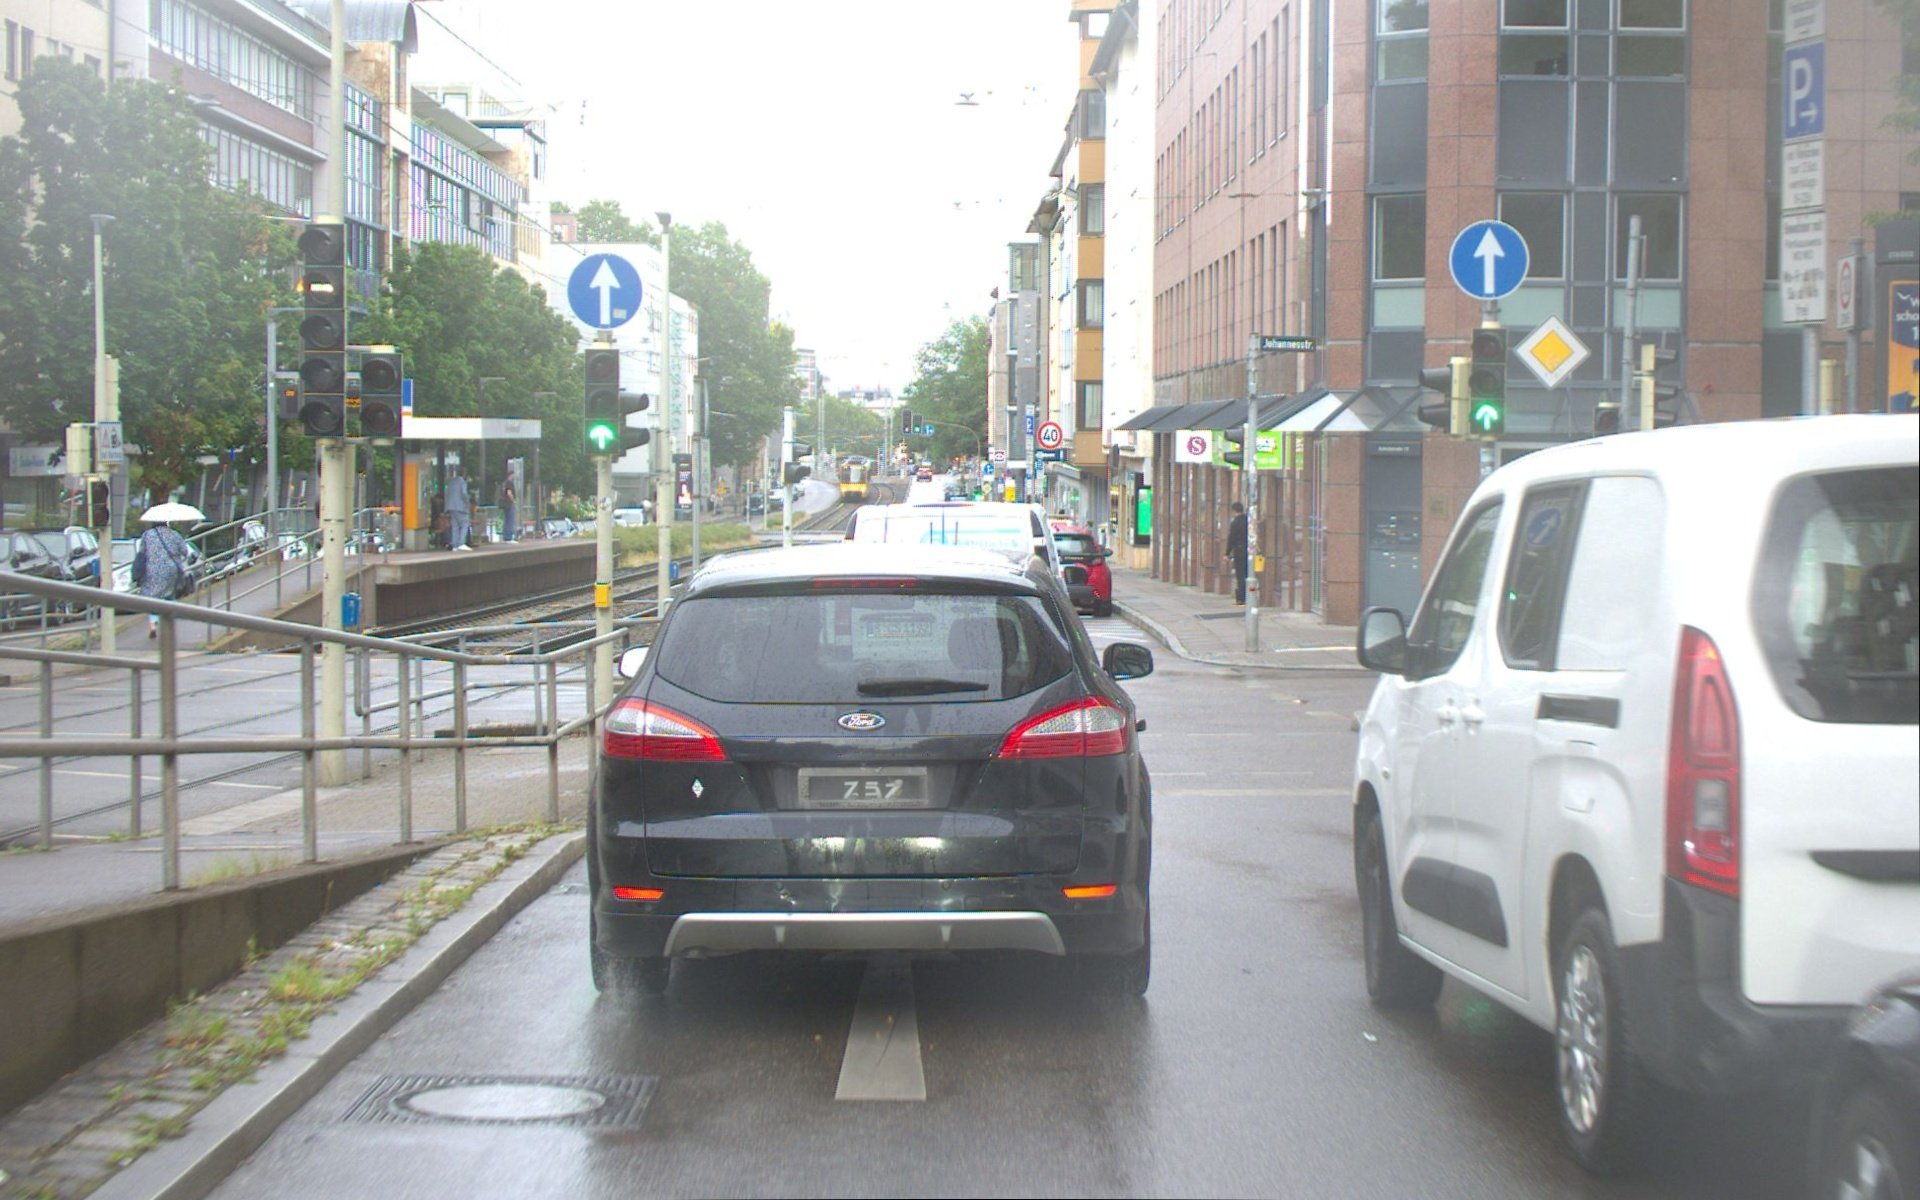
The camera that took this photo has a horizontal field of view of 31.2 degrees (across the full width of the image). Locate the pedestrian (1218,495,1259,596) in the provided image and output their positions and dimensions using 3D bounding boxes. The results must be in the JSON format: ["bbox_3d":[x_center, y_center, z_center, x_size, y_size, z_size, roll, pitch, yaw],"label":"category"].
[{"bbox_3d":[4.617,-0.903,56.968,0.601,1.653,0.625,-1,1,0],"label":"pedestrian"}]

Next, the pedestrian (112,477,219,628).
[{"bbox_3d":[-10.771,-0.652,46.670,1.116,2.007,1.383,-1,1,0],"label":"pedestrian"}]

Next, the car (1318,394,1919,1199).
[{"bbox_3d":[2.277,0.435,9.462,1.906,1.800,4.778,0,1,-2],"label":"car"}]

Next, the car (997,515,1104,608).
[{"bbox_3d":[1.513,-0.666,58.304,1.698,1.474,3.867,-2,1,1],"label":"car"}]

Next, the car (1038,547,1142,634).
[{"bbox_3d":[2.339,-0.198,62.735,1.698,1.457,3.867,-2,1,0],"label":"car"}]

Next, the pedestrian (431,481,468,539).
[{"bbox_3d":[-11.087,-1.961,74.627,0.692,1.245,0.884,0,1,-2],"label":"pedestrian"}]

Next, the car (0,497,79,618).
[{"bbox_3d":[-15.518,-0.706,55.196,1.802,1.852,4.381,-1,2,-3],"label":"car"}]

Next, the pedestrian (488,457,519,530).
[{"bbox_3d":[-11.395,-2.653,85.838,0.655,1.795,0.850,0,1,-2],"label":"pedestrian"}]

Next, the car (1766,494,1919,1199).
[{"bbox_3d":[2.343,0.672,3.719,1.906,1.610,4.414,0,1,0],"label":"car"}]

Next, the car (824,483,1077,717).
[{"bbox_3d":[0.000,-0.037,29.567,1.907,1.858,4.573,0,1,3],"label":"car"}]

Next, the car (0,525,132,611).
[{"bbox_3d":[-16.004,-0.594,60.914,1.840,1.431,4.320,-1,2,-3],"label":"car"}]

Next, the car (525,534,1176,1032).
[{"bbox_3d":[-0.321,0.507,11.806,1.906,1.457,3.445,0,1,0],"label":"car"}]

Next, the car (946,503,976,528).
[{"bbox_3d":[0.072,-5.657,229.366,1.906,1.627,4.574,0,1,1],"label":"car"}]

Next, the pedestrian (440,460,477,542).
[{"bbox_3d":[-10.560,-2.078,72.407,0.655,1.705,0.850,0,1,-2],"label":"pedestrian"}]

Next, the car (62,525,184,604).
[{"bbox_3d":[-15.890,-0.697,65.429,1.568,1.431,3.980,-1,2,-3],"label":"car"}]
